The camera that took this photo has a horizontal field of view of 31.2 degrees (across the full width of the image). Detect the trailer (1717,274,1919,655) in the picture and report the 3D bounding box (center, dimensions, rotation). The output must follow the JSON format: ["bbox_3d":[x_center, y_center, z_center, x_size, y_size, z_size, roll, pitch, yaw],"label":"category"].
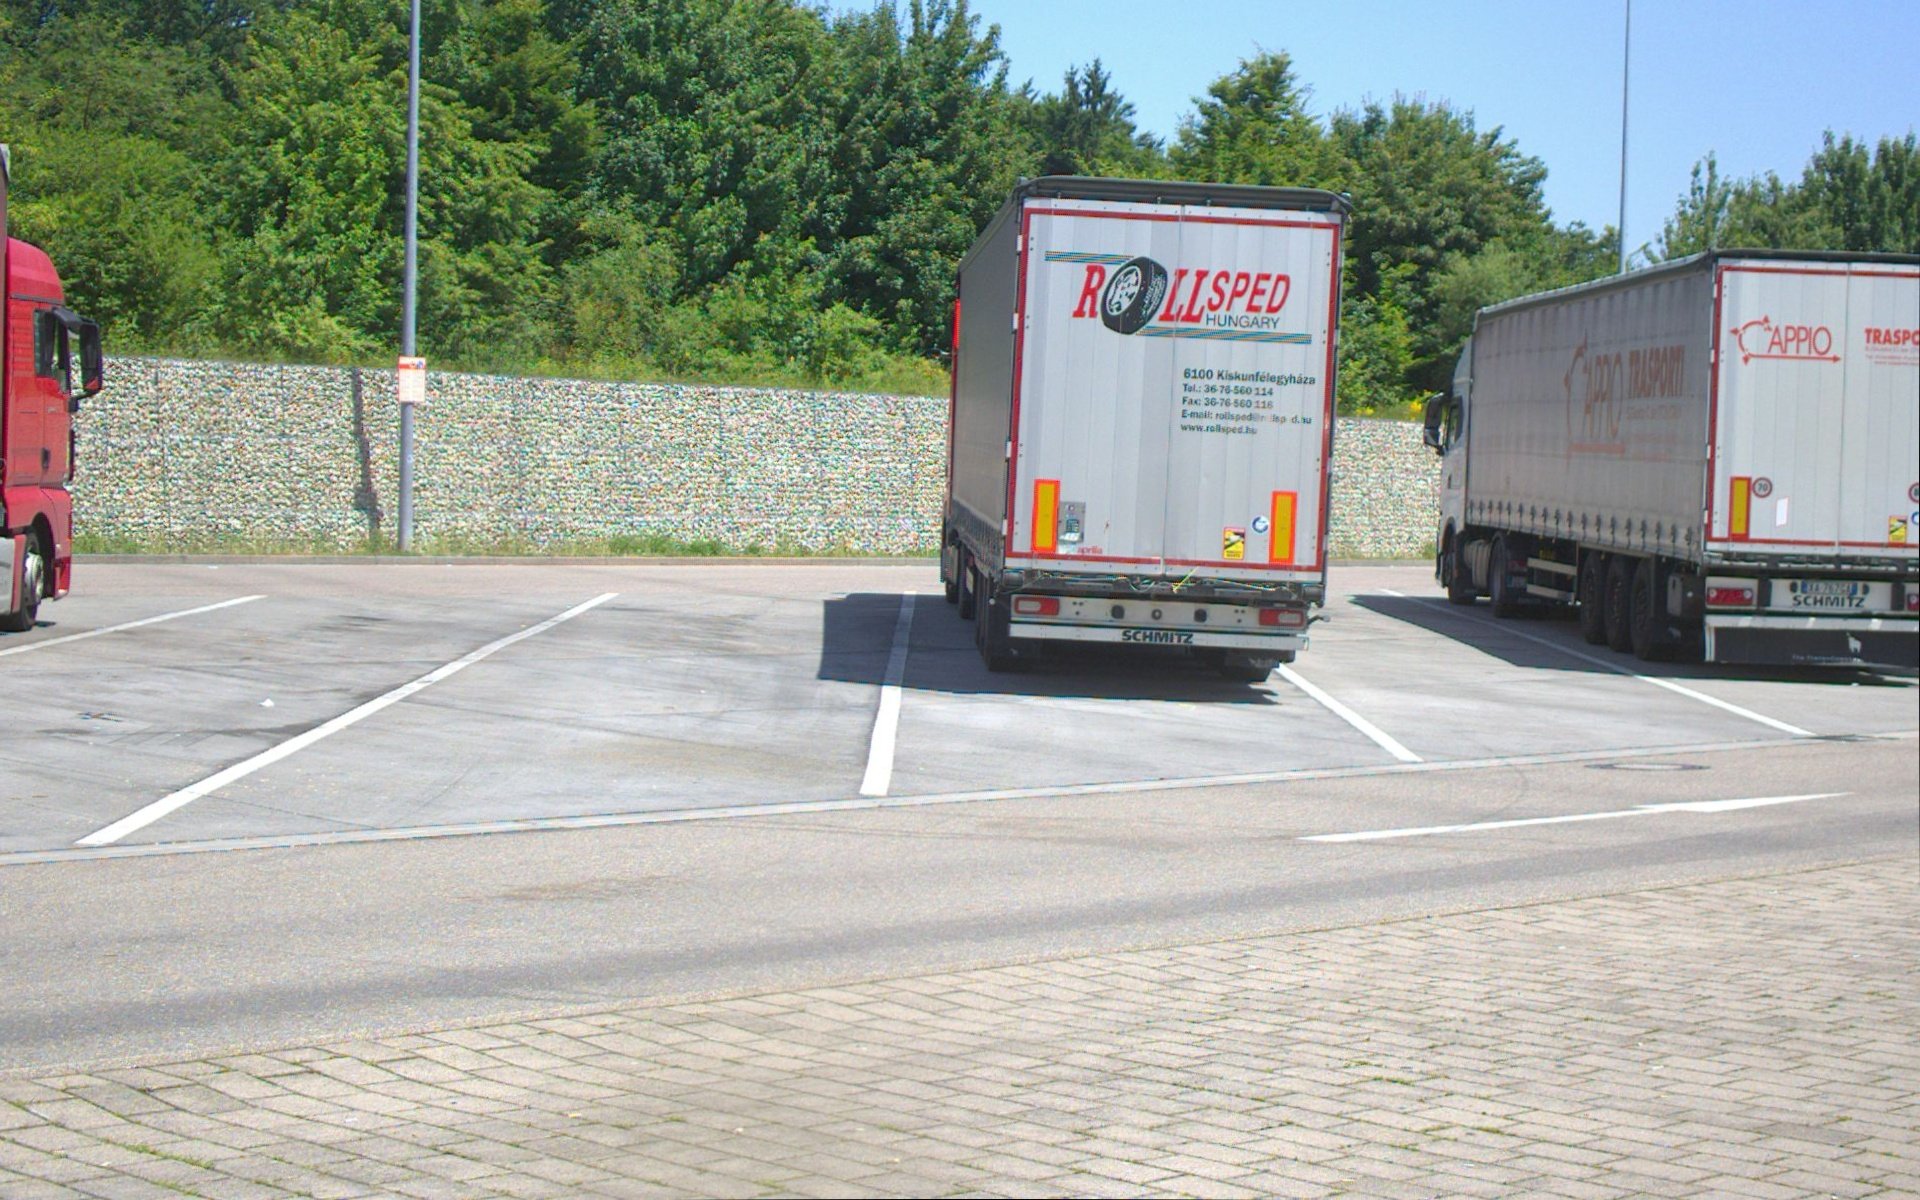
[{"bbox_3d":[11.792,-1.524,39.448,2.838,4.118,13.724,2,3,-1],"label":"trailer"}]

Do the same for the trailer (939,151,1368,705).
[{"bbox_3d":[1.438,-1.620,33.205,2.906,4.118,13.725,2,3,-1],"label":"trailer"}]

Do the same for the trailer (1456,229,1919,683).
[{"bbox_3d":[8.155,-1.623,38.696,2.838,4.118,13.724,2,3,-1],"label":"trailer"}]

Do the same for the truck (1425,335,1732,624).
[{"bbox_3d":[8.061,-1.621,45.508,2.852,3.472,5.483,2,2,-1],"label":"truck"}]

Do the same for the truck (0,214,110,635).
[{"bbox_3d":[-9.237,-1.506,28.746,2.852,3.416,5.483,2,2,-1],"label":"truck"}]

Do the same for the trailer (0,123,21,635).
[{"bbox_3d":[-9.146,-1.491,21.308,2.906,4.118,13.725,2,3,-1],"label":"trailer"}]

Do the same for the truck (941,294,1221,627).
[{"bbox_3d":[1.289,-1.627,39.818,2.852,3.472,5.483,2,2,-1],"label":"truck"}]
